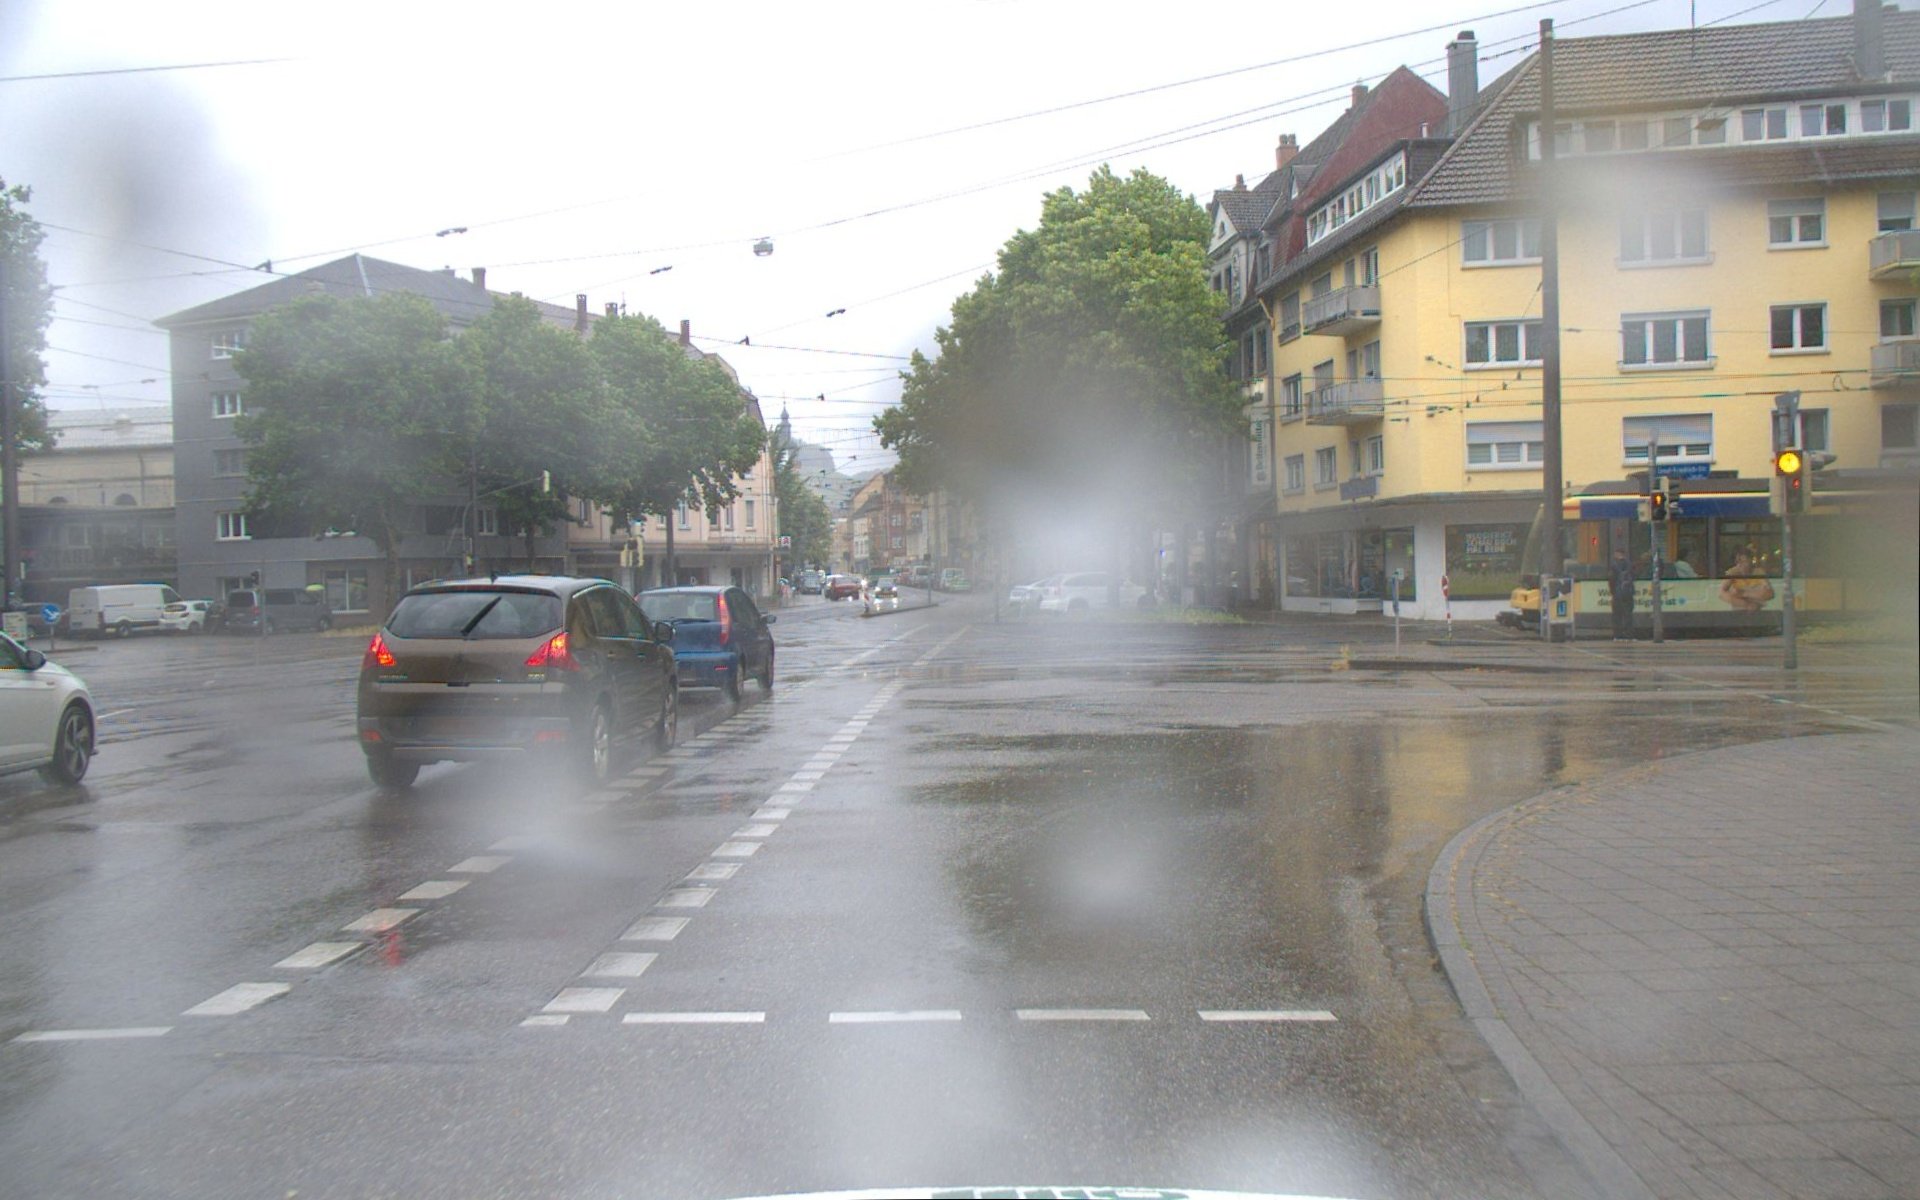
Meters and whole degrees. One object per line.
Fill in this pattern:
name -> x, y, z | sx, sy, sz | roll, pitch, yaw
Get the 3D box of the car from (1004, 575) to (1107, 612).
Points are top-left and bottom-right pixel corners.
car -> 4.520, -0.291, 78.109 | 4.484, 1.584, 2.001 | -1, 1, 20

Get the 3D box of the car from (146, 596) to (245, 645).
car -> -34.313, 0.900, 74.378 | 1.951, 2.048, 4.004 | -1, 1, 13

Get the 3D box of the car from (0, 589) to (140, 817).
car -> -7.585, 0.741, 11.670 | 1.771, 1.563, 4.186 | -1, 1, -5

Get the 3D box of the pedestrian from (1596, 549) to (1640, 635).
pedestrian -> 13.246, -0.168, 33.290 | 0.795, 1.706, 1.017 | -1, 1, 23

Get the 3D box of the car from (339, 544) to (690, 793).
car -> -3.465, 0.439, 13.691 | 1.765, 1.739, 4.191 | 0, 1, 0

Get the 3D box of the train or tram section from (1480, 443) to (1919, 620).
train or tram section -> 18.799, -1.423, 35.554 | 14.220, 3.620, 3.119 | 0, 0, 7

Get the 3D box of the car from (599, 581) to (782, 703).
car -> -3.511, 0.580, 22.216 | 1.844, 1.485, 3.831 | 0, -2, 0

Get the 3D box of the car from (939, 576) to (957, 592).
car -> -1.048, -1.380, 145.008 | 1.446, 1.386, 3.460 | 1, 0, -2

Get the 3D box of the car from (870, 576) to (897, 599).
car -> -6.005, -0.997, 129.596 | 1.954, 1.718, 3.997 | 1, 0, -4

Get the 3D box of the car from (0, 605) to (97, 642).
car -> -42.151, 1.104, 76.156 | 1.953, 1.642, 3.999 | -1, -1, 22

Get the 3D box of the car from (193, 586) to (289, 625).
car -> -32.161, 0.214, 74.120 | 1.880, 1.646, 4.004 | -1, 1, 13

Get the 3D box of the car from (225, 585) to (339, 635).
car -> -29.588, 0.418, 72.314 | 2.021, 2.048, 4.393 | 0, 1, 27

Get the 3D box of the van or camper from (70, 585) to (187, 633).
van or camper -> -37.299, 0.393, 74.314 | 1.952, 2.111, 4.656 | -1, 0, 20

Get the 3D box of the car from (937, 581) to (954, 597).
car -> -1.368, -1.021, 151.566 | 1.446, 1.386, 3.460 | 1, 0, -2

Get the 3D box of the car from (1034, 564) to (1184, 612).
car -> 5.228, -0.432, 58.273 | 4.885, 1.499, 1.995 | -2, 1, -12

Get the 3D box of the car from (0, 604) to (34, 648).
car -> -46.112, 1.217, 77.892 | 1.954, 2.049, 3.996 | 0, -1, 26
